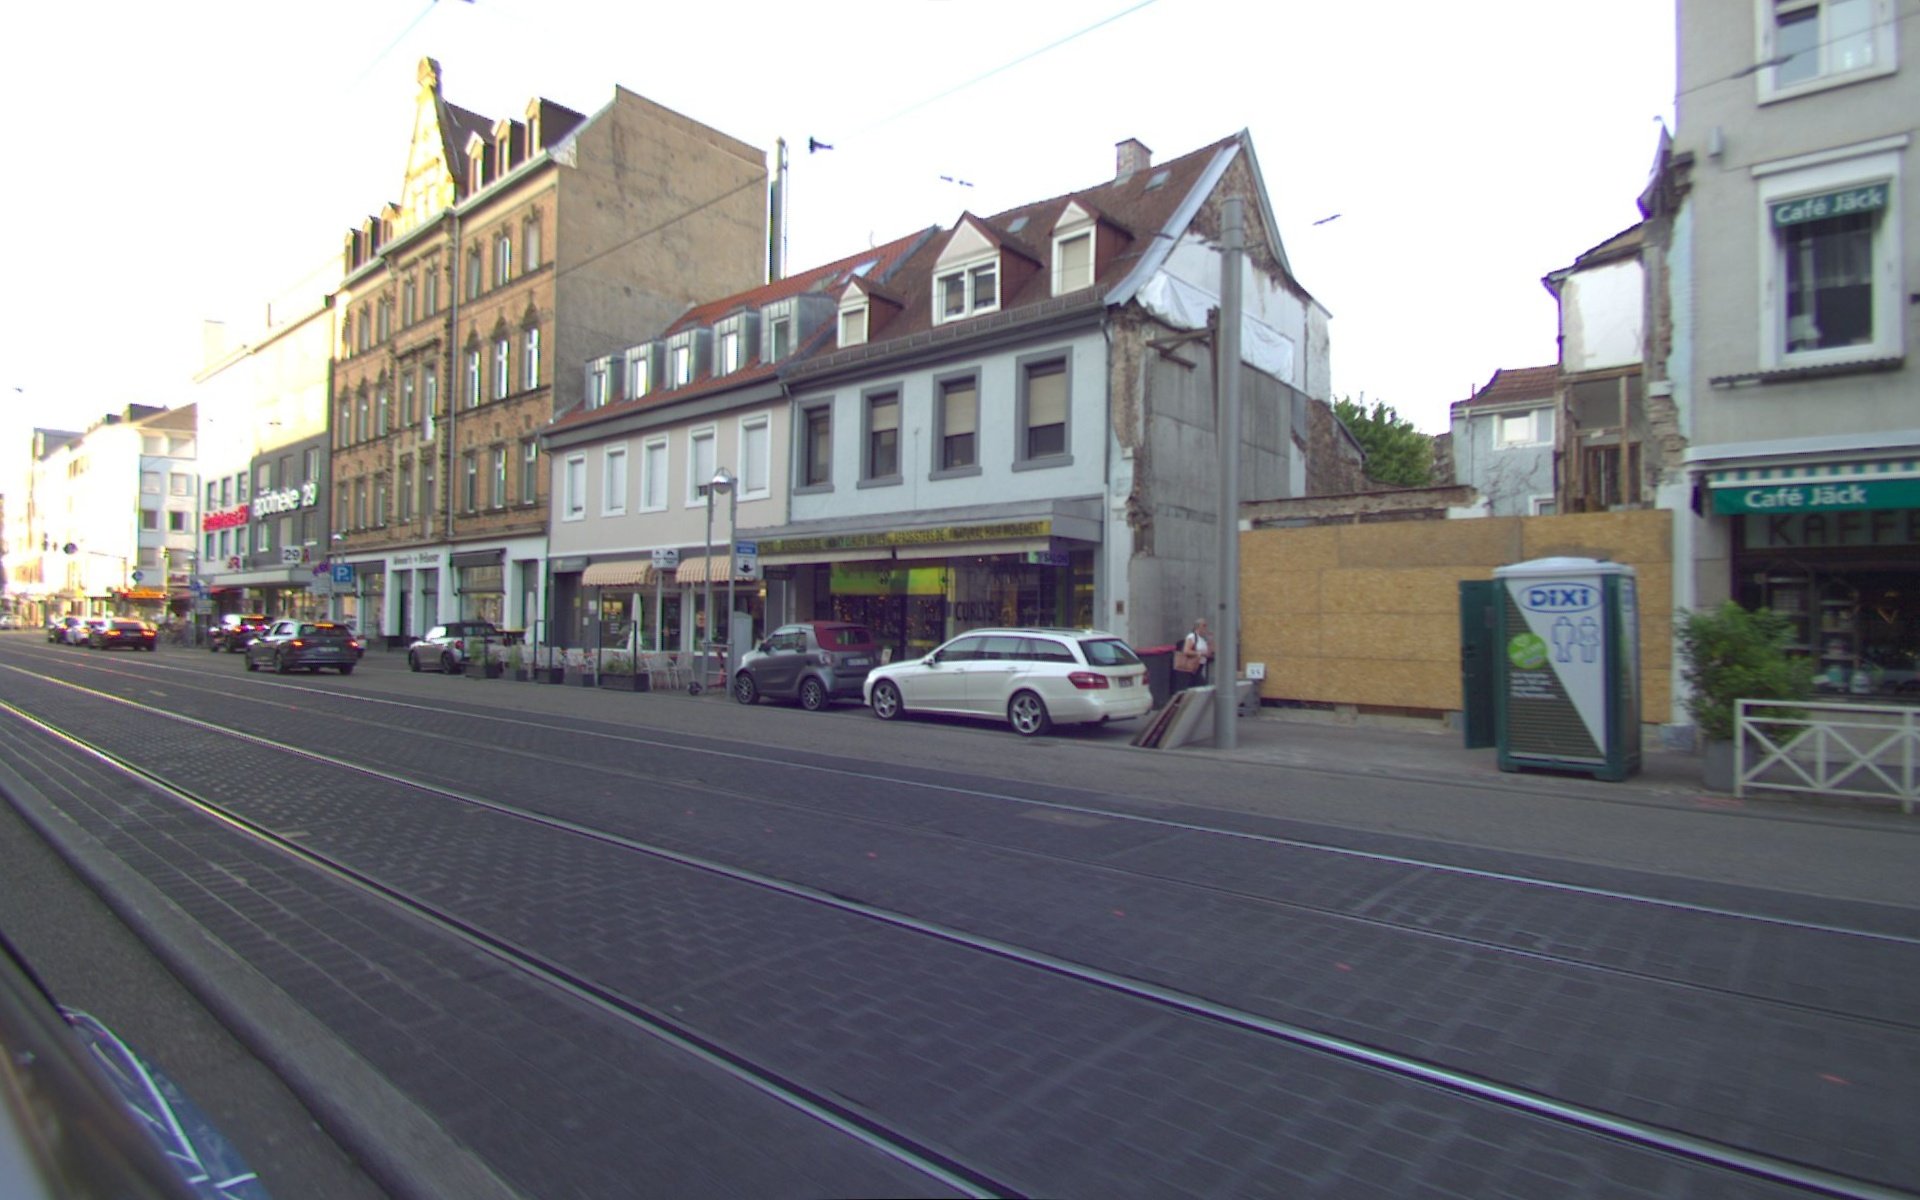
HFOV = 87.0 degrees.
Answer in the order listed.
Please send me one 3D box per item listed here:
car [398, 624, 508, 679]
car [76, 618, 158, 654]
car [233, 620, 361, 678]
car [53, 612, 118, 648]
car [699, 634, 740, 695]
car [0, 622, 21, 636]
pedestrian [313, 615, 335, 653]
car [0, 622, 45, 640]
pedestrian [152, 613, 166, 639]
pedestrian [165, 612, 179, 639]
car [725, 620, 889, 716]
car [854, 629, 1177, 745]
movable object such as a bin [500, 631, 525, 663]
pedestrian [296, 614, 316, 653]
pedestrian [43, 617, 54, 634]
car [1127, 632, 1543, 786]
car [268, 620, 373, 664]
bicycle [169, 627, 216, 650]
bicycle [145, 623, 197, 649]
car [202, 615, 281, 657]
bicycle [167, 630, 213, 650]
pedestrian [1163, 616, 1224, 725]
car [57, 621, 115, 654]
[{"bbox_3d":[-14.716,1.447,29.313,3.811,1.451,1.581,-1,-1,42],"label":"car"},{"bbox_3d":[-37.084,1.560,44.472,4.645,1.464,1.973,-1,-3,40],"label":"car"},{"bbox_3d":[-18.167,1.323,27.676,4.461,1.464,1.674,-1,-4,40],"label":"car"},{"bbox_3d":[-46.002,1.577,53.218,4.727,1.740,1.972,-1,-4,42],"label":"car"},{"bbox_3d":[-5.014,1.340,21.090,0.339,1.244,0.775,-1,-2,39],"label":"car"},{"bbox_3d":[-86.438,2.639,91.744,3.387,1.263,1.615,-2,0,42],"label":"car"},{"bbox_3d":[-28.388,1.494,45.164,0.624,1.673,0.675,-2,-2,41],"label":"pedestrian"},{"bbox_3d":[-72.741,2.381,77.649,1.593,1.344,3.452,0,-2,32],"label":"car"},{"bbox_3d":[-54.212,1.734,68.468,0.668,1.758,0.629,-1,-2,42],"label":"pedestrian"},{"bbox_3d":[-53.827,1.739,69.111,0.600,1.792,0.629,-1,-2,41],"label":"pedestrian"},{"bbox_3d":[-2.813,1.176,18.443,2.792,1.589,1.462,-1,-2,40],"label":"car"},{"bbox_3d":[0.711,1.196,15.549,4.821,1.464,1.972,-1,-2,42],"label":"car"},{"bbox_3d":[-15.059,1.561,34.064,0.694,1.041,0.490,-1,0,41],"label":"movable object such as a bin"},{"bbox_3d":[-28.907,1.471,44.738,0.602,1.712,0.614,-2,-2,41],"label":"pedestrian"},{"bbox_3d":[-84.752,2.357,94.132,0.621,1.483,0.539,-2,1,25],"label":"pedestrian"},{"bbox_3d":[4.400,1.158,12.277,4.329,1.464,1.972,-1,-1,42],"label":"car"},{"bbox_3d":[-23.814,1.518,37.634,4.603,1.464,1.851,0,0,38],"label":"car"},{"bbox_3d":[-38.172,1.925,50.357,0.489,1.055,1.812,-3,-1,41],"label":"bicycle"},{"bbox_3d":[-41.417,1.880,53.149,0.553,1.233,2.090,0,1,41],"label":"bicycle"},{"bbox_3d":[-30.766,1.505,43.269,4.646,1.687,1.909,-1,-1,44],"label":"car"},{"bbox_3d":[-38.642,1.997,50.804,0.455,0.919,1.786,-3,-1,41],"label":"bicycle"},{"bbox_3d":[3.650,1.076,15.807,0.694,1.656,0.655,-1,-2,42],"label":"pedestrian"},{"bbox_3d":[-42.481,1.796,49.275,1.968,1.464,4.664,4,-3,-40],"label":"car"}]
